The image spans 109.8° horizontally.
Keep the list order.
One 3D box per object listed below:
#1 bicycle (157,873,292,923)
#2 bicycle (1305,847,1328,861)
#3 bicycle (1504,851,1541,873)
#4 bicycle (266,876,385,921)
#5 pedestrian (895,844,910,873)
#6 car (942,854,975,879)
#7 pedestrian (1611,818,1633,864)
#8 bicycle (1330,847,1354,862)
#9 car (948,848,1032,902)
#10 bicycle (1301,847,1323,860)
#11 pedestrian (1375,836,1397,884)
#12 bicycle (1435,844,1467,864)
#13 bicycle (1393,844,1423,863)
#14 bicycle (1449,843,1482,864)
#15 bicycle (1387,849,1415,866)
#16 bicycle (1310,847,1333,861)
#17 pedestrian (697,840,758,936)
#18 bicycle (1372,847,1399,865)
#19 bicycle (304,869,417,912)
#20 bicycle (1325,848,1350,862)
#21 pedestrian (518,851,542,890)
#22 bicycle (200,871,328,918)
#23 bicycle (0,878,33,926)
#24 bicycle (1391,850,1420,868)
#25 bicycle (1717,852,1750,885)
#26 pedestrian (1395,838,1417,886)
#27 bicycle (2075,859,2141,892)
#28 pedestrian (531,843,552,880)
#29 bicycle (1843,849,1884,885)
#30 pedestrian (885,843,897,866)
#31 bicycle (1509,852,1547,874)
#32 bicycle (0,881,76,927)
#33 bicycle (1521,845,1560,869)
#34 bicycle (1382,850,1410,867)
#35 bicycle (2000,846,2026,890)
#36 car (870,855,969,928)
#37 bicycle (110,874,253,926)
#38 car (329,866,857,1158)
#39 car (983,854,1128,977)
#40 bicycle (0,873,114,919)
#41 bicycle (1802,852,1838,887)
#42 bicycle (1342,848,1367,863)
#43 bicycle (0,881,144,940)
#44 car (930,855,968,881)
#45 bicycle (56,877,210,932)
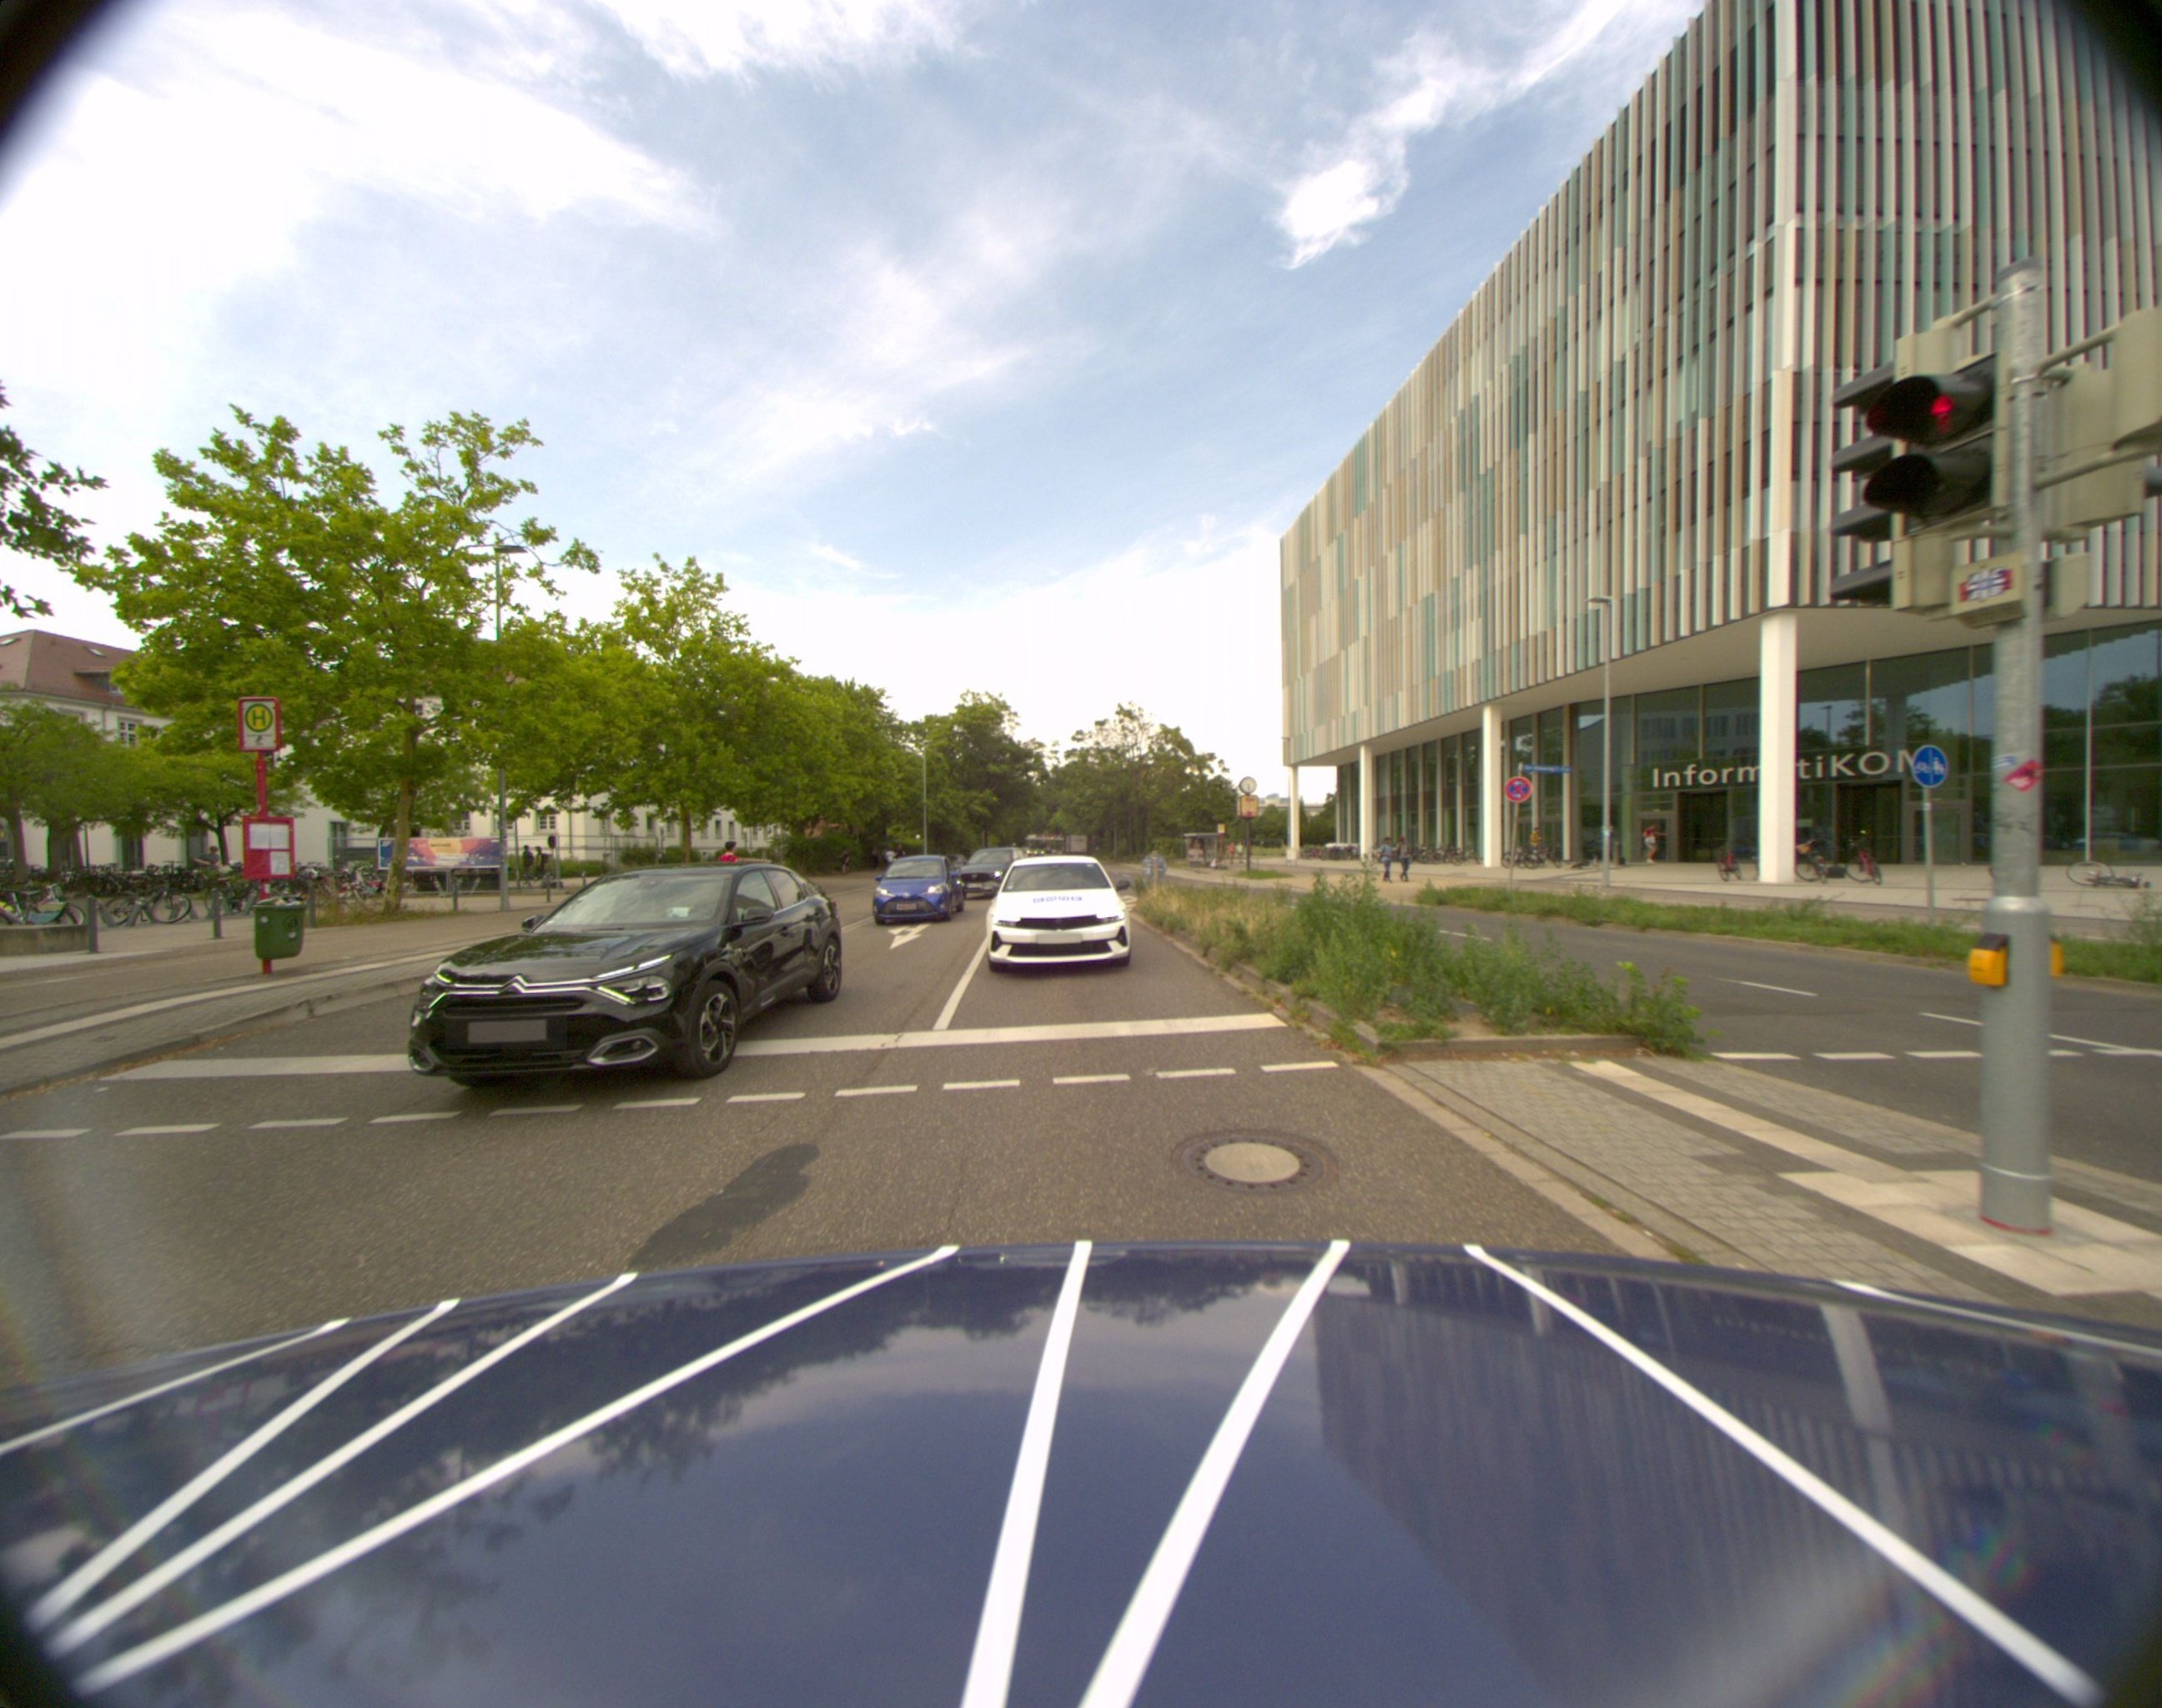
[{"bbox_3d":[-21.404,1.090,19.022,2.472,1.136,0.717,-1,1,-1],"label":"bicycle"},{"bbox_3d":[19.292,-0.014,62.170,1.704,1.017,0.434,-3,1,-7],"label":"bicycle"},{"bbox_3d":[20.443,0.376,35.199,1.546,0.932,0.389,-3,1,-7],"label":"bicycle"},{"bbox_3d":[-20.667,1.209,20.816,2.472,1.136,0.717,-1,1,-1],"label":"bicycle"},{"bbox_3d":[-11.828,0.313,50.451,0.798,1.922,0.760,-1,1,-3],"label":"pedestrian"},{"bbox_3d":[-7.763,0.755,48.479,1.606,1.454,4.016,-1,1,-3],"label":"car"},{"bbox_3d":[23.857,-0.570,33.518,0.512,2.031,0.624,-1,0,-4],"label":"pedestrian"},{"bbox_3d":[19.477,0.063,56.698,1.704,1.017,0.434,-3,1,-7],"label":"bicycle"},{"bbox_3d":[-2.965,0.630,25.748,1.904,1.639,4.646,-1,1,5],"label":"car"},{"bbox_3d":[19.334,-0.042,63.537,1.704,1.017,0.434,-3,1,-7],"label":"bicycle"},{"bbox_3d":[11.800,0.216,29.411,0.512,1.827,0.772,-1,0,-3],"label":"pedestrian"},{"bbox_3d":[20.537,-0.013,42.155,1.582,1.017,0.389,-3,1,-7],"label":"bicycle"},{"bbox_3d":[19.350,-0.013,44.952,1.582,1.017,0.389,-3,1,-7],"label":"bicycle"},{"bbox_3d":[20.211,-0.007,39.960,1.582,1.017,0.389,-3,1,-7],"label":"bicycle"},{"bbox_3d":[19.909,0.209,47.218,1.582,1.017,0.389,-3,1,-7],"label":"bicycle"},{"bbox_3d":[19.359,0.002,61.178,1.704,1.017,0.434,-3,1,-7],"label":"bicycle"},{"bbox_3d":[-7.076,0.658,15.252,0.727,1.843,1.064,-1,1,-4],"label":"pedestrian"},{"bbox_3d":[19.613,0.125,48.940,1.582,1.017,0.389,-3,1,-7],"label":"bicycle"},{"bbox_3d":[-20.604,1.047,21.766,2.472,1.136,0.717,-1,1,-1],"label":"bicycle"},{"bbox_3d":[19.419,0.068,57.548,1.704,1.017,0.434,-3,1,-7],"label":"bicycle"},{"bbox_3d":[-24.898,0.754,34.342,0.586,1.729,0.594,-1,1,-1],"label":"pedestrian"},{"bbox_3d":[-21.395,1.047,19.929,2.472,1.136,0.717,-1,1,-1],"label":"bicycle"},{"bbox_3d":[-27.638,1.209,18.741,2.472,1.136,0.717,-1,1,-1],"label":"bicycle"},{"bbox_3d":[19.953,0.280,46.721,1.582,1.017,0.389,-3,1,-7],"label":"bicycle"},{"bbox_3d":[20.516,0.434,23.895,1.613,0.932,0.393,-4,2,-35],"label":"bicycle"},{"bbox_3d":[12.587,0.317,29.436,0.512,1.827,0.624,-1,0,-3],"label":"pedestrian"},{"bbox_3d":[24.887,0.516,18.441,0.393,0.669,1.799,-2,1,35],"label":"bicycle"},{"bbox_3d":[-25.846,0.355,36.430,0.531,1.743,0.594,-1,1,2],"label":"pedestrian"},{"bbox_3d":[22.231,0.358,21.614,0.393,0.932,1.601,-2,1,31],"label":"bicycle"},{"bbox_3d":[-12.571,0.028,50.292,0.646,1.556,0.804,-1,1,-3],"label":"pedestrian"},{"bbox_3d":[20.238,0.404,34.385,1.546,0.932,0.394,-3,1,-7],"label":"bicycle"},{"bbox_3d":[-27.662,1.294,19.579,2.472,1.136,0.717,-1,1,-1],"label":"bicycle"},{"bbox_3d":[20.334,0.116,33.611,1.546,0.989,0.399,-3,1,-6],"label":"bicycle"},{"bbox_3d":[19.819,0.287,47.816,1.582,1.017,0.389,-3,1,-7],"label":"bicycle"},{"bbox_3d":[23.932,0.344,19.515,1.549,1.023,0.393,-4,2,-39],"label":"bicycle"},{"bbox_3d":[-3.737,0.801,18.171,1.703,1.485,3.830,-1,1,-3],"label":"car"},{"bbox_3d":[-21.402,1.081,18.106,2.472,1.136,0.717,-1,1,-1],"label":"bicycle"},{"bbox_3d":[-3.483,0.967,6.567,1.804,1.547,4.175,-2,1,0],"label":"car"},{"bbox_3d":[-0.424,0.750,11.693,1.745,1.430,4.780,-1,1,-3],"label":"car"},{"bbox_3d":[-27.683,1.125,20.386,2.472,1.136,0.717,-1,1,-1],"label":"bicycle"},{"bbox_3d":[21.523,0.441,22.149,0.393,0.932,1.601,-2,1,31],"label":"bicycle"},{"bbox_3d":[19.821,0.122,55.073,1.704,1.017,0.389,-3,1,-7],"label":"bicycle"},{"bbox_3d":[-21.439,1.186,15.986,2.472,1.136,0.717,-1,1,-1],"label":"bicycle"},{"bbox_3d":[-7.555,0.770,43.867,1.703,1.361,3.830,-1,1,-3],"label":"car"},{"bbox_3d":[-21.423,1.124,17.204,2.472,1.136,0.717,-1,1,-1],"label":"bicycle"}]
